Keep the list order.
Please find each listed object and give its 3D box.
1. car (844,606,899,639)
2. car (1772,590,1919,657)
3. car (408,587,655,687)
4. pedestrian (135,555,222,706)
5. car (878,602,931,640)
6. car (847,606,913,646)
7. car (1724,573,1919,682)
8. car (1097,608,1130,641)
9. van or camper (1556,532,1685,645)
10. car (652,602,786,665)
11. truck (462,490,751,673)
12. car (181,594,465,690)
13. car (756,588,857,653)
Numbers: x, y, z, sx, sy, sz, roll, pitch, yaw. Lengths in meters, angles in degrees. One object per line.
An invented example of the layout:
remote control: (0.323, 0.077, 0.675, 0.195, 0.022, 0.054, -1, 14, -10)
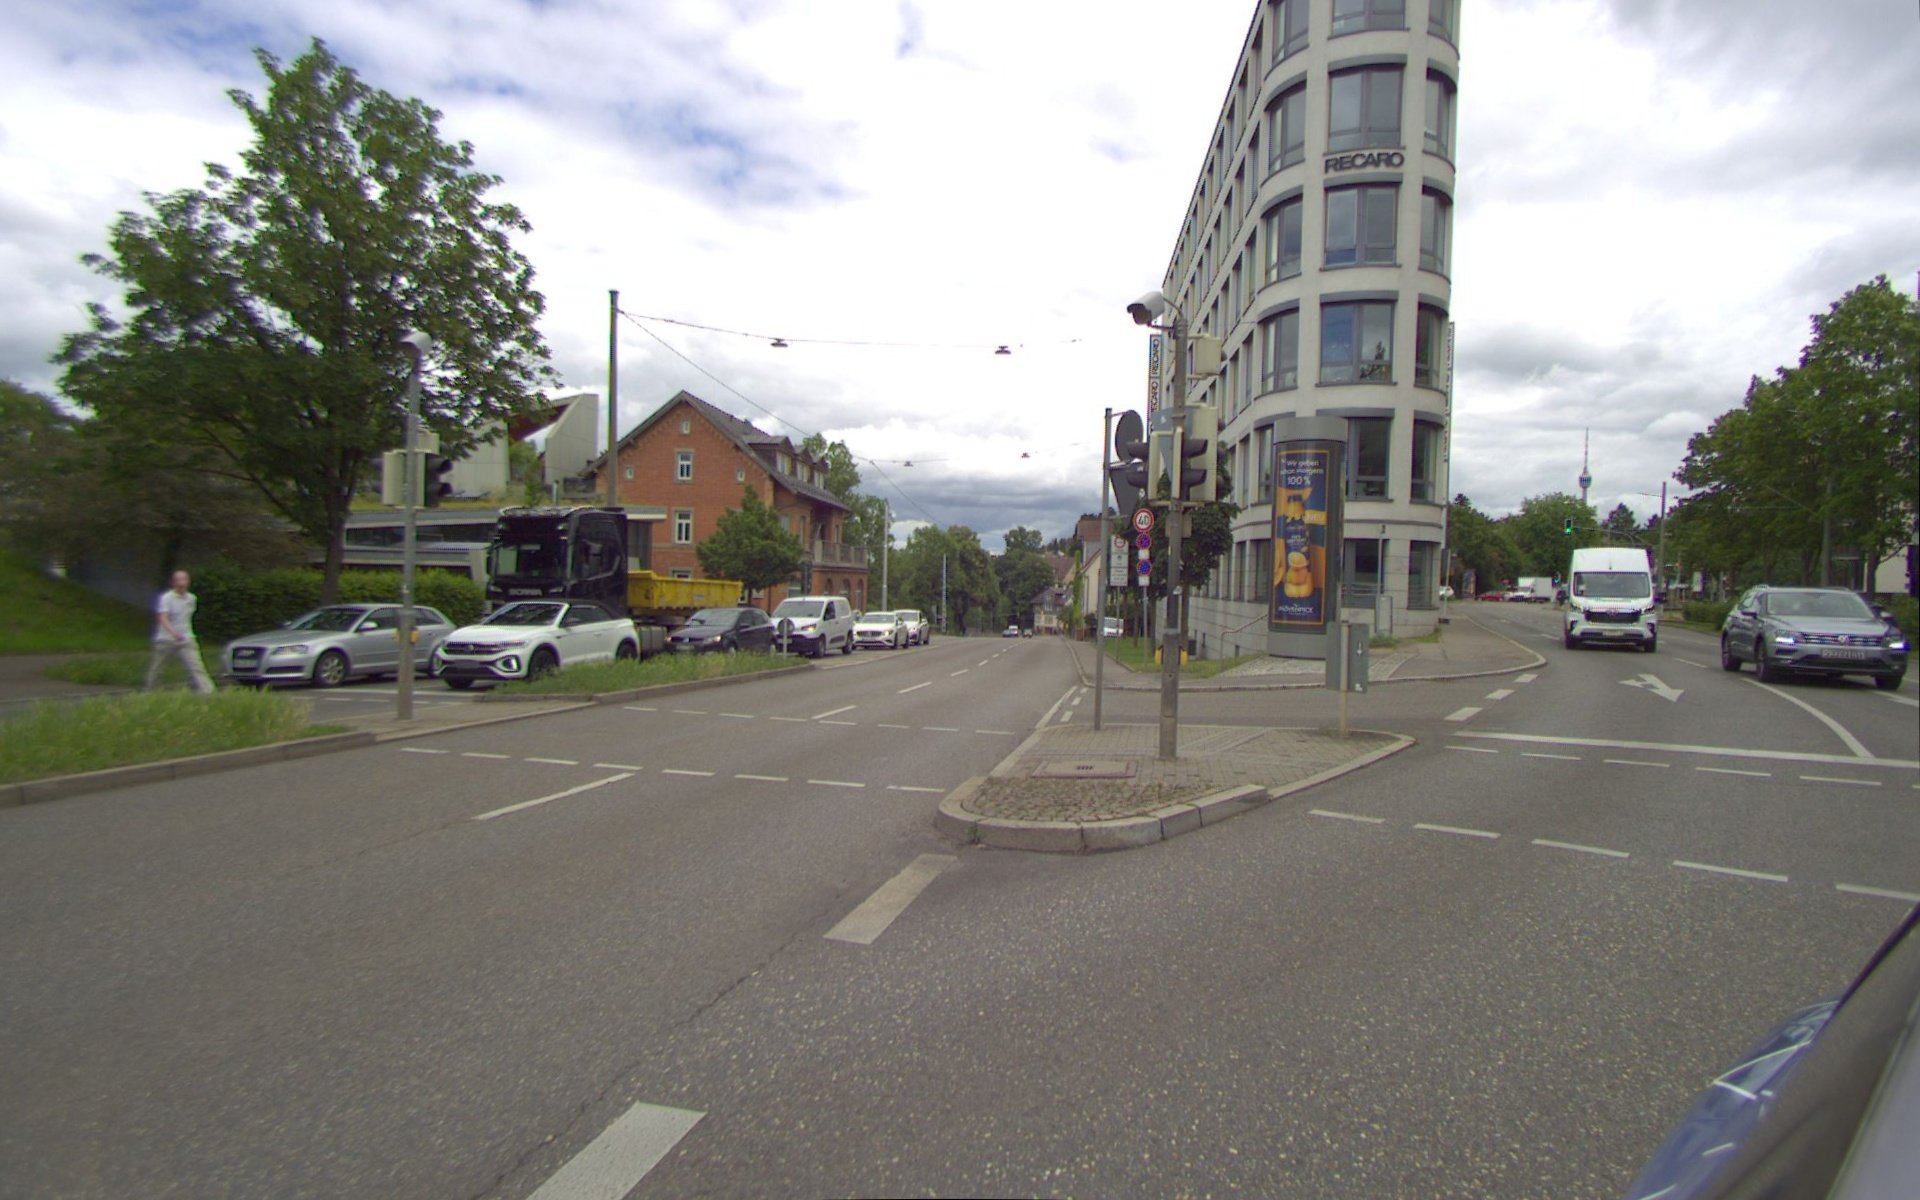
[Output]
car: (-4.169, 1.054, 48.363, 1.659, 1.459, 3.972, 0, 0, 10)
car: (22.514, 0.526, 25.745, 1.833, 1.454, 4.663, 3, 2, 26)
car: (-7.490, 0.592, 18.248, 1.828, 1.549, 4.470, 0, 0, 13)
pedestrian: (-10.345, 0.385, 13.404, 0.746, 1.942, 0.585, 0, -1, 16)
car: (-2.426, 0.924, 45.236, 1.707, 1.588, 4.318, -1, -1, 6)
car: (-2.985, 0.958, 38.445, 1.725, 1.393, 4.279, 0, 0, 6)
car: (14.976, 0.391, 17.730, 1.818, 1.666, 4.285, 0, 1, 27)
car: (10.538, 1.674, 69.614, 2.141, 2.038, 3.991, 1, 1, 8)
van or camper: (17.824, -0.316, 27.643, 2.090, 2.724, 6.244, 0, 1, 25)
car: (-5.811, 0.760, 24.894, 1.629, 1.391, 3.962, 0, 0, 13)
truck: (-8.740, -0.466, 26.790, 2.785, 3.974, 9.425, 0, 1, 12)
car: (-11.117, 0.644, 18.049, 1.959, 1.460, 4.142, 0, 1, 13)
car: (-4.568, 0.576, 30.742, 1.727, 1.819, 4.274, 0, 0, 10)
